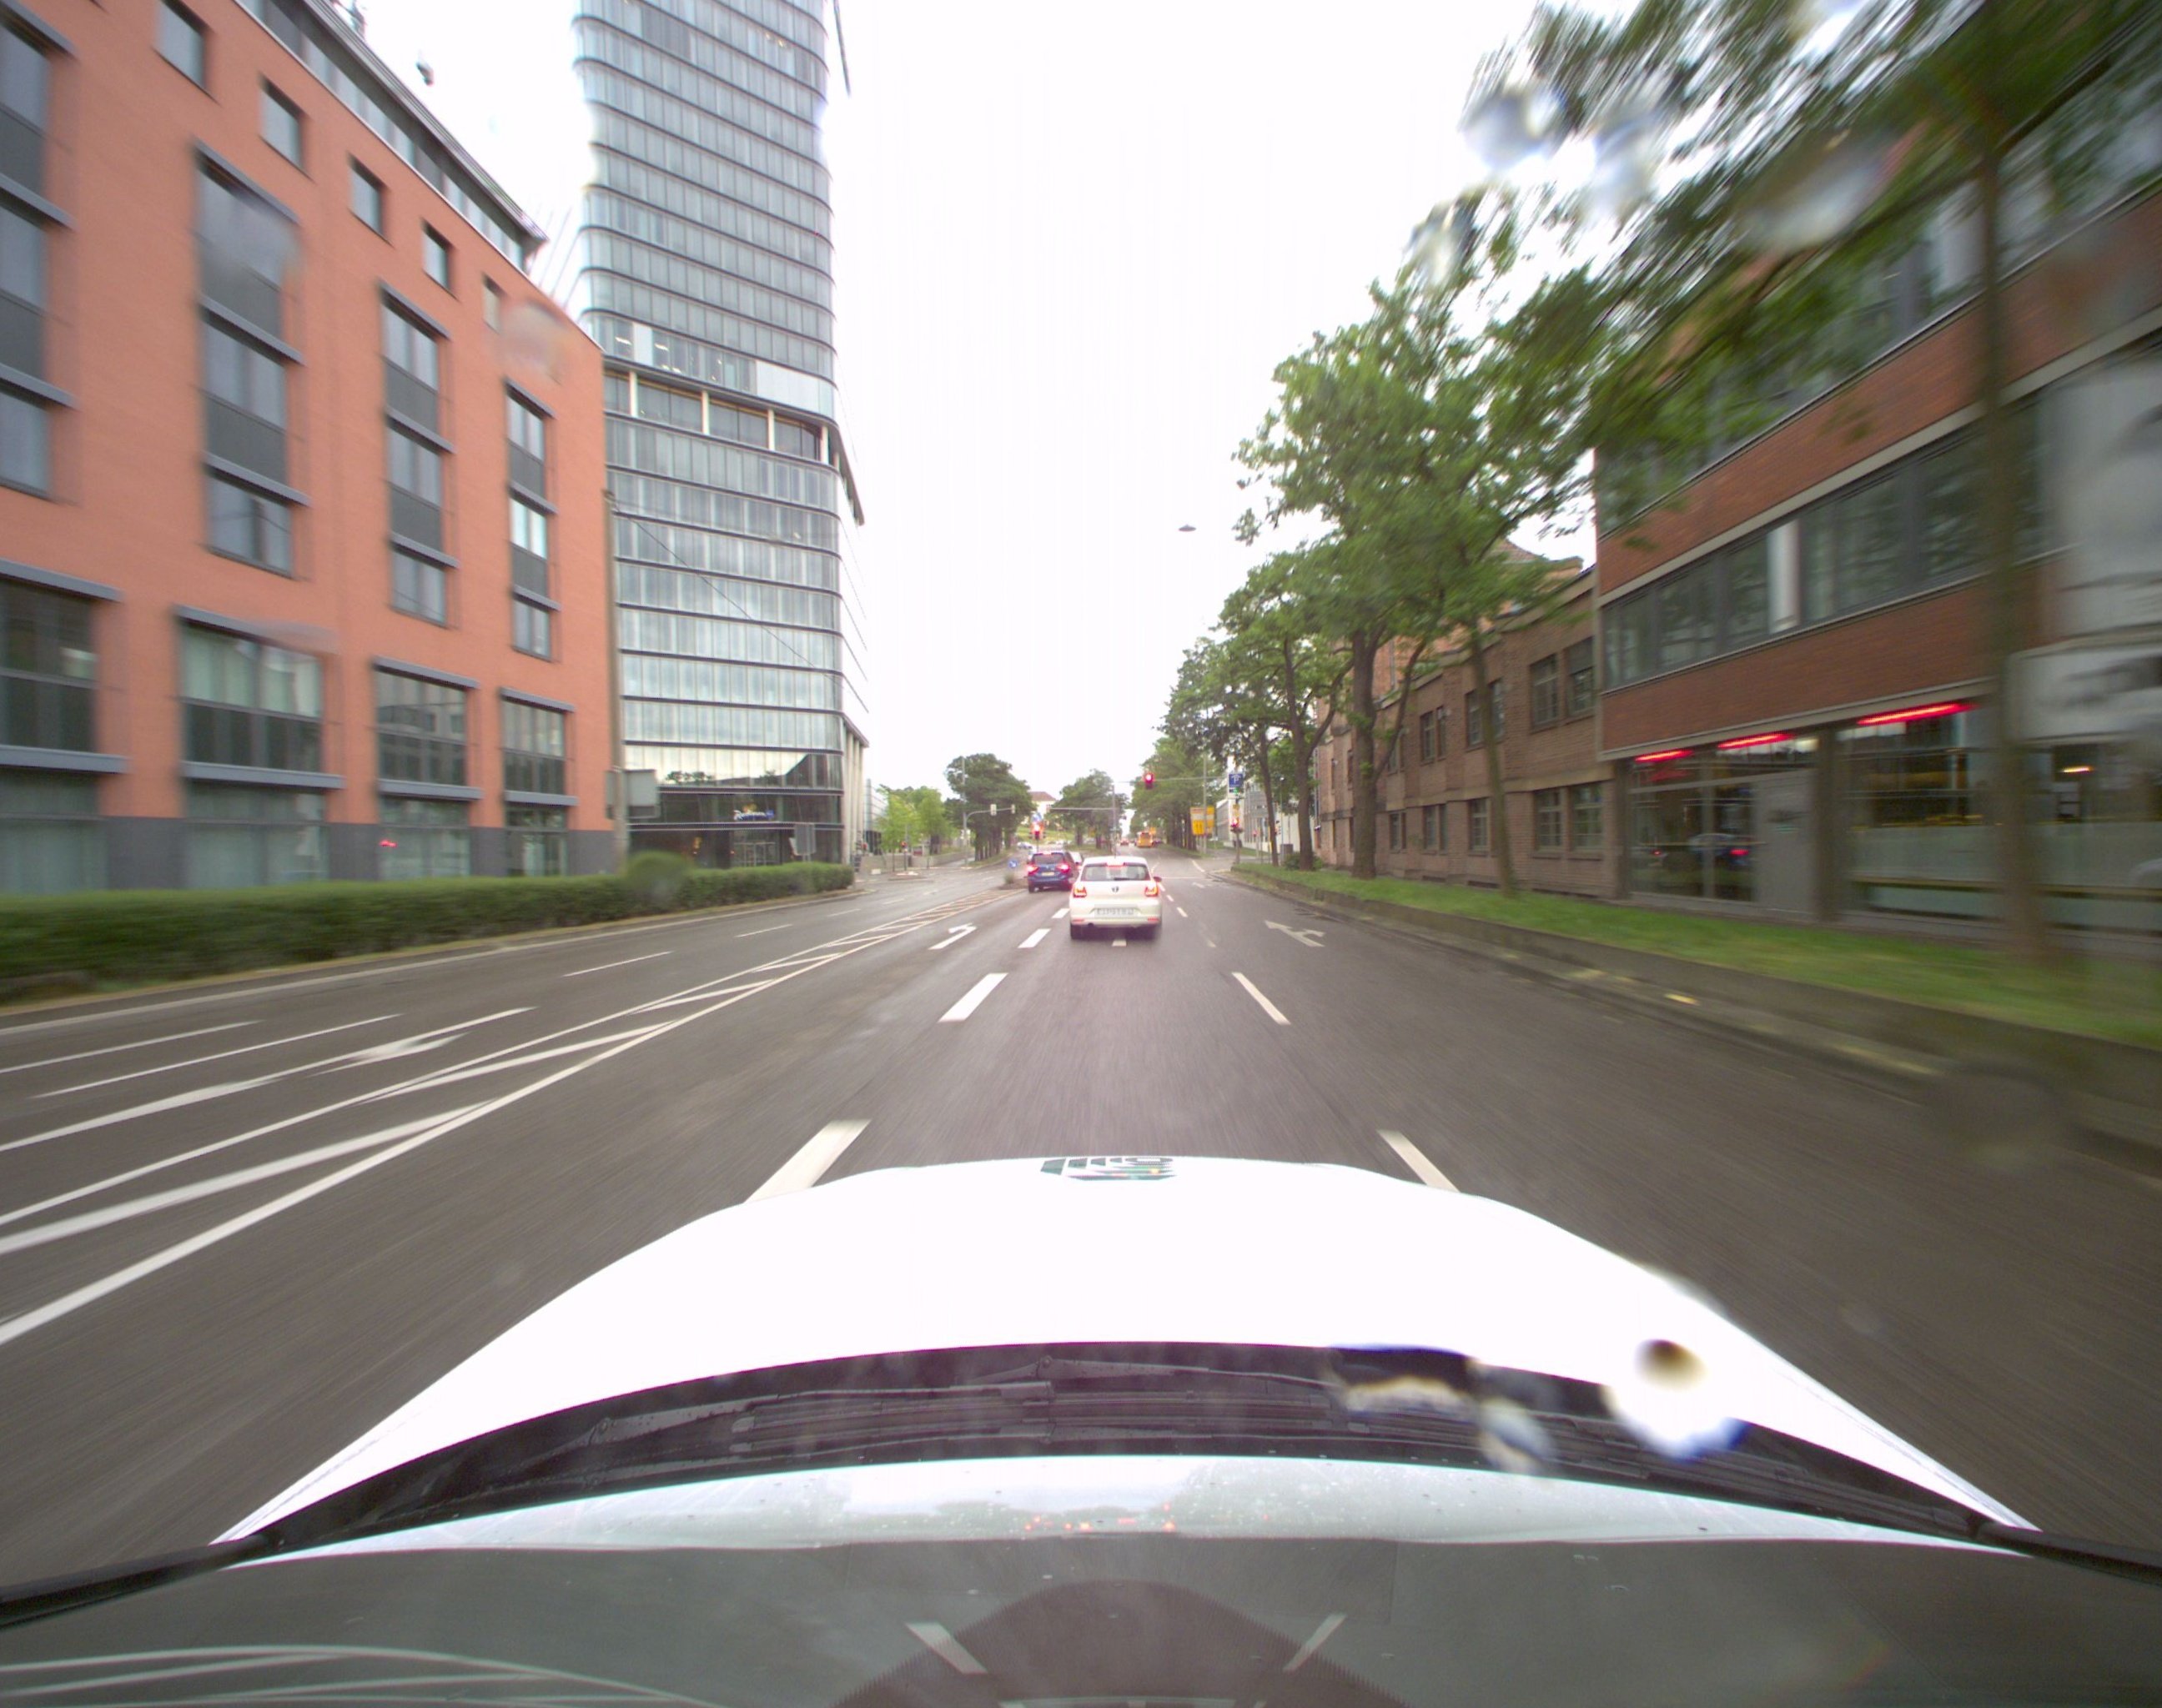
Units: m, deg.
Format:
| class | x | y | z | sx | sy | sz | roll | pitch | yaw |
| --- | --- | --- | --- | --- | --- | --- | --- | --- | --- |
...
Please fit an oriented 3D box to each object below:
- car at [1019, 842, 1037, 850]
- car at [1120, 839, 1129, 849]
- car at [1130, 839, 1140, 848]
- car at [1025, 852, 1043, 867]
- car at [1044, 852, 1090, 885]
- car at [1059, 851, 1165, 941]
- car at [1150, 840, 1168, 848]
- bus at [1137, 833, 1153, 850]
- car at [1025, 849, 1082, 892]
| class | x | y | z | sx | sy | sz | roll | pitch | yaw |
| --- | --- | --- | --- | --- | --- | --- | --- | --- | --- |
| car | -11.531 | -1.756 | 176.024 | 1.827 | 1.411 | 4.608 | -4 | 1 | -32 |
| car | 9.635 | -2.249 | 181.164 | 1.986 | 2.013 | 4.002 | -2 | 0 | 2 |
| car | 12.034 | -2.330 | 181.030 | 1.986 | 2.013 | 4.002 | -2 | 0 | 2 |
| car | -5.098 | 0.562 | 89.060 | 1.745 | 1.520 | 3.816 | -3 | 1 | -1 |
| car | -0.632 | 0.678 | 40.542 | 1.838 | 1.510 | 4.054 | -2 | 0 | 5 |
| car | 0.648 | 0.714 | 15.923 | 1.786 | 1.502 | 4.004 | -1 | 0 | 3 |
| car | 17.264 | -2.195 | 180.482 | 3.849 | 1.515 | 1.679 | -2 | 0 | -43 |
| bus | 12.816 | -2.581 | 163.755 | 2.817 | 3.266 | 10.007 | -1 | 1 | 2 |
| car | -1.062 | 0.648 | 33.899 | 1.763 | 1.596 | 4.204 | -2 | 0 | 5 |
